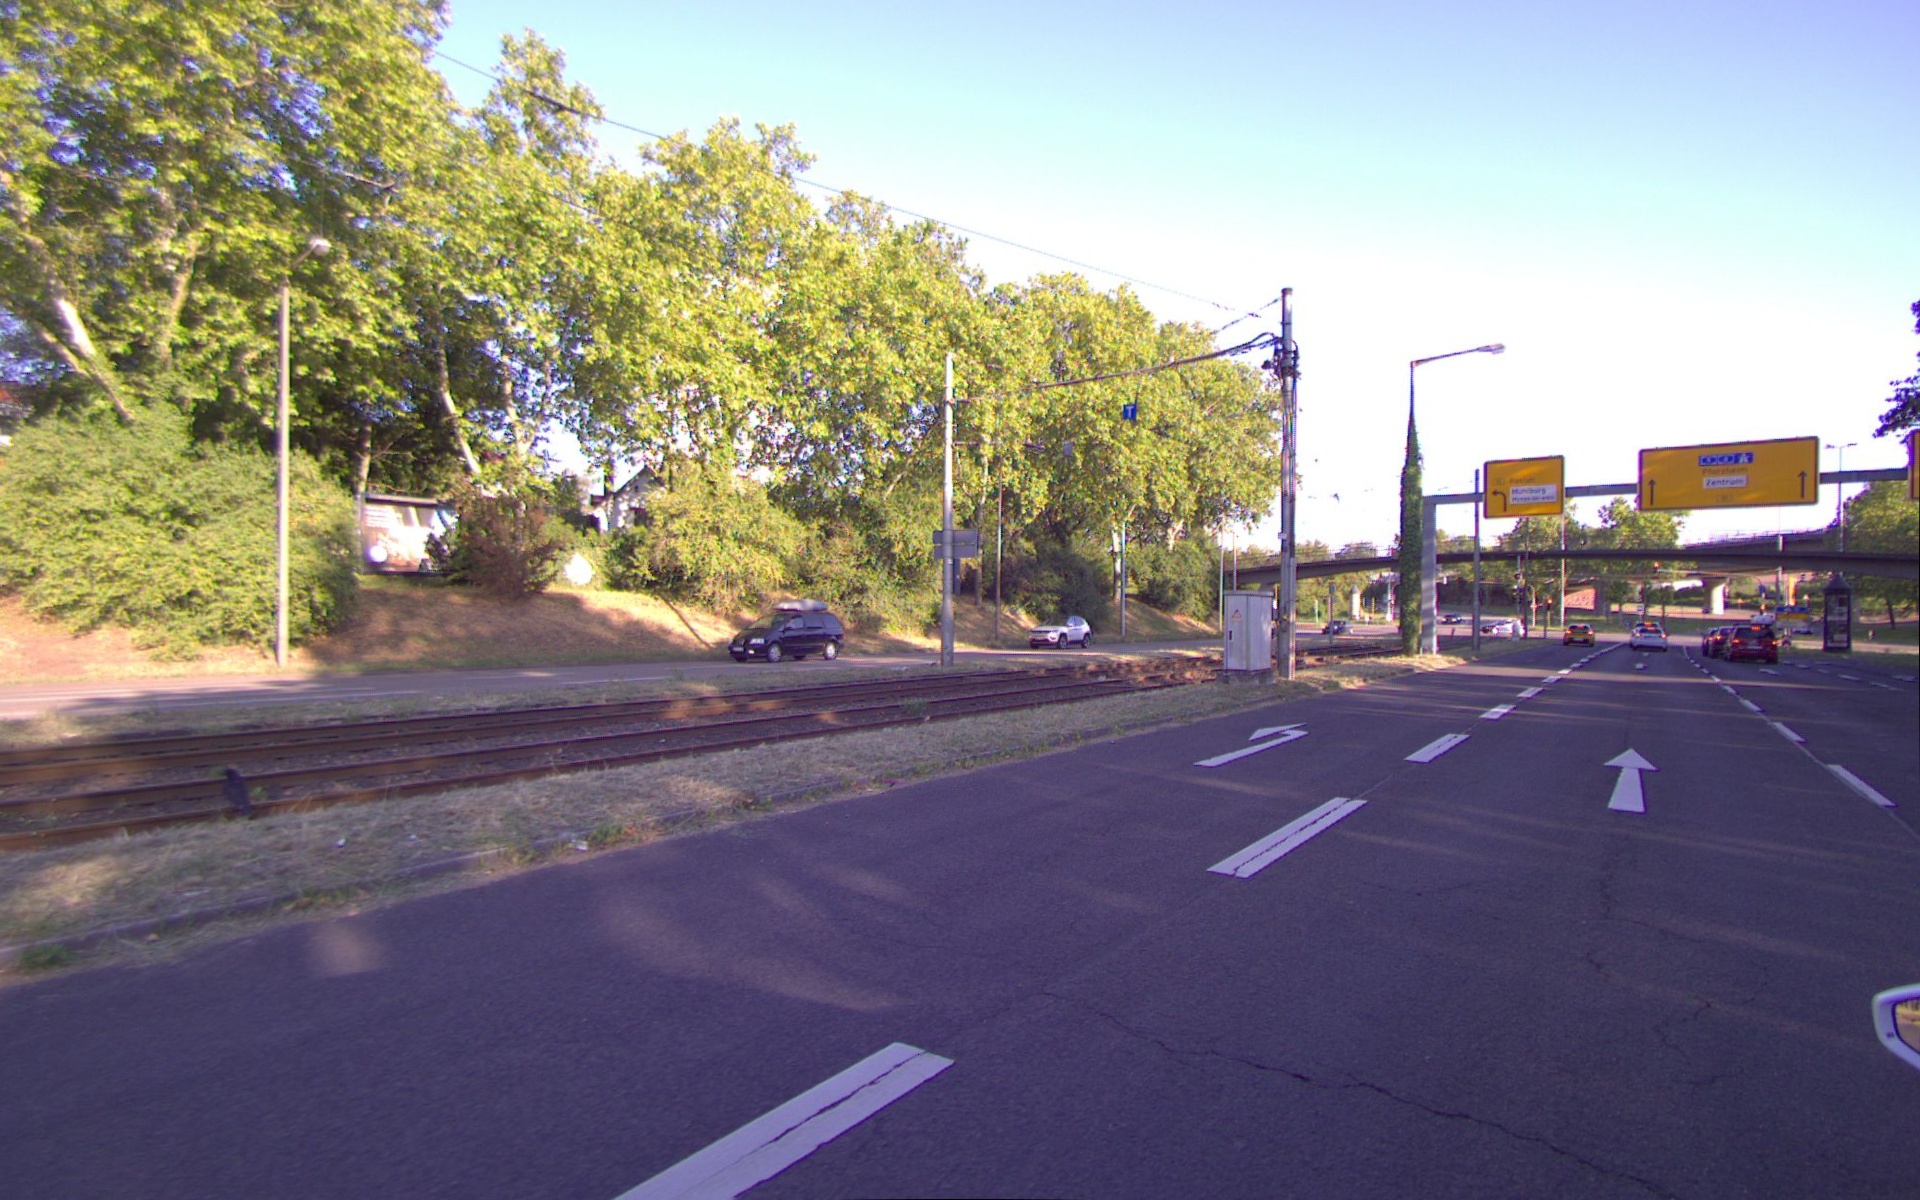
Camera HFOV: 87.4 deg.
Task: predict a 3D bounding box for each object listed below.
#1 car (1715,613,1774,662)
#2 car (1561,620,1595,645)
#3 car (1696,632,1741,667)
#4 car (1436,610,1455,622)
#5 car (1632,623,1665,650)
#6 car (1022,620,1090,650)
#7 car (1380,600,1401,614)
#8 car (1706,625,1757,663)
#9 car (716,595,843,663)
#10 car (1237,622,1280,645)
[{"bbox_3d":[35.201,1.650,45.150,1.768,2.133,3.988,-1,-1,34],"label":"car"},{"bbox_3d":[41.184,2.163,66.910,1.641,1.586,3.987,-1,-1,35],"label":"car"},{"bbox_3d":[41.841,2.713,55.473,1.768,1.773,3.987,-1,-1,35],"label":"car"},{"bbox_3d":[68.053,2.299,140.742,1.853,1.596,3.664,2,1,33],"label":"car"},{"bbox_3d":[42.538,2.207,62.042,1.641,1.586,4.177,-1,-1,35],"label":"car"},{"bbox_3d":[4.975,1.753,51.508,1.964,1.459,4.184,-1,-2,29],"label":"car"},{"bbox_3d":[59.496,0.982,138.799,1.853,1.795,3.989,2,1,33],"label":"car"},{"bbox_3d":[38.575,2.166,50.298,1.768,1.773,4.227,-1,-1,35],"label":"car"},{"bbox_3d":[-6.177,1.001,34.820,1.968,2.191,4.176,-1,-2,36],"label":"car"},{"bbox_3d":[23.471,2.615,78.831,1.968,1.703,4.176,-1,-2,36],"label":"car"}]
